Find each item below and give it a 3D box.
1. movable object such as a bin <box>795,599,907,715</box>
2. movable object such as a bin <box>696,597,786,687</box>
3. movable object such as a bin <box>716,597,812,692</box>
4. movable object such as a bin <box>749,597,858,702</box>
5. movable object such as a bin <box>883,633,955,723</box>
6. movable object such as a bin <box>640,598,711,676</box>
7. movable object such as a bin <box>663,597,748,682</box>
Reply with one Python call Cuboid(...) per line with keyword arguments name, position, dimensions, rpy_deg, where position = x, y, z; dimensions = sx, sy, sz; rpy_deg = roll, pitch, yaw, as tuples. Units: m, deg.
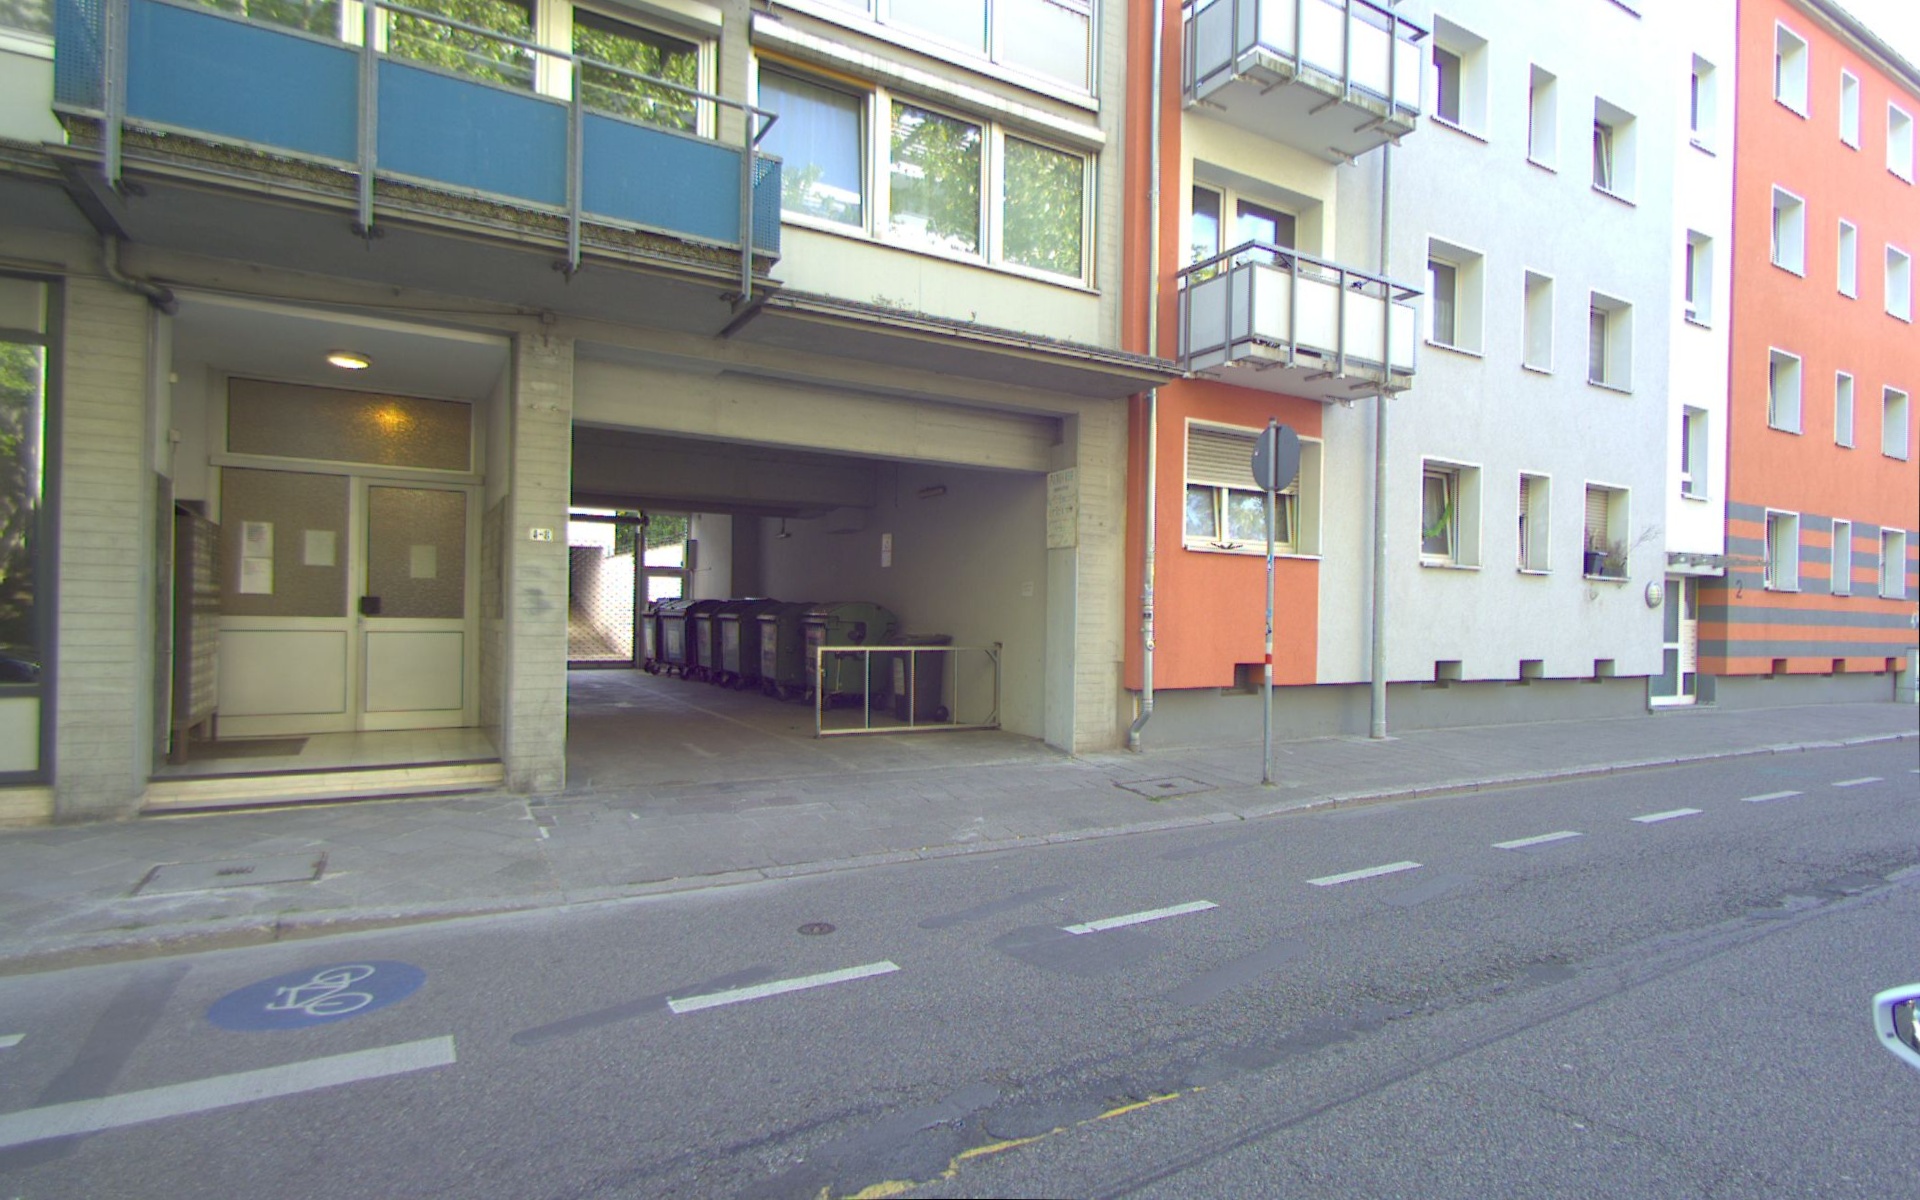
Cuboid(name="movable object such as a bin", position=(-1.513, 0.751, 13.823), dimensions=(1.128, 1.484, 1.255), rpy_deg=(2, 0, -28))
Cuboid(name="movable object such as a bin", position=(-3.878, 0.723, 17.761), dimensions=(1.264, 1.515, 1.155), rpy_deg=(2, 0, -28))
Cuboid(name="movable object such as a bin", position=(-3.276, 0.722, 16.713), dimensions=(1.264, 1.506, 1.155), rpy_deg=(2, 0, -28))
Cuboid(name="movable object such as a bin", position=(-2.379, 0.730, 15.176), dimensions=(1.264, 1.493, 1.265), rpy_deg=(2, -1, -28))
Cuboid(name="movable object such as a bin", position=(-0.514, 0.956, 12.471), dimensions=(0.694, 1.061, 0.567), rpy_deg=(2, 0, -28))
Cuboid(name="movable object such as a bin", position=(-5.662, 0.725, 19.960), dimensions=(1.128, 1.484, 1.129), rpy_deg=(2, 0, -28))
Cuboid(name="movable object such as a bin", position=(-4.743, 0.715, 18.704), dimensions=(1.264, 1.506, 1.155), rpy_deg=(2, 0, -28))
